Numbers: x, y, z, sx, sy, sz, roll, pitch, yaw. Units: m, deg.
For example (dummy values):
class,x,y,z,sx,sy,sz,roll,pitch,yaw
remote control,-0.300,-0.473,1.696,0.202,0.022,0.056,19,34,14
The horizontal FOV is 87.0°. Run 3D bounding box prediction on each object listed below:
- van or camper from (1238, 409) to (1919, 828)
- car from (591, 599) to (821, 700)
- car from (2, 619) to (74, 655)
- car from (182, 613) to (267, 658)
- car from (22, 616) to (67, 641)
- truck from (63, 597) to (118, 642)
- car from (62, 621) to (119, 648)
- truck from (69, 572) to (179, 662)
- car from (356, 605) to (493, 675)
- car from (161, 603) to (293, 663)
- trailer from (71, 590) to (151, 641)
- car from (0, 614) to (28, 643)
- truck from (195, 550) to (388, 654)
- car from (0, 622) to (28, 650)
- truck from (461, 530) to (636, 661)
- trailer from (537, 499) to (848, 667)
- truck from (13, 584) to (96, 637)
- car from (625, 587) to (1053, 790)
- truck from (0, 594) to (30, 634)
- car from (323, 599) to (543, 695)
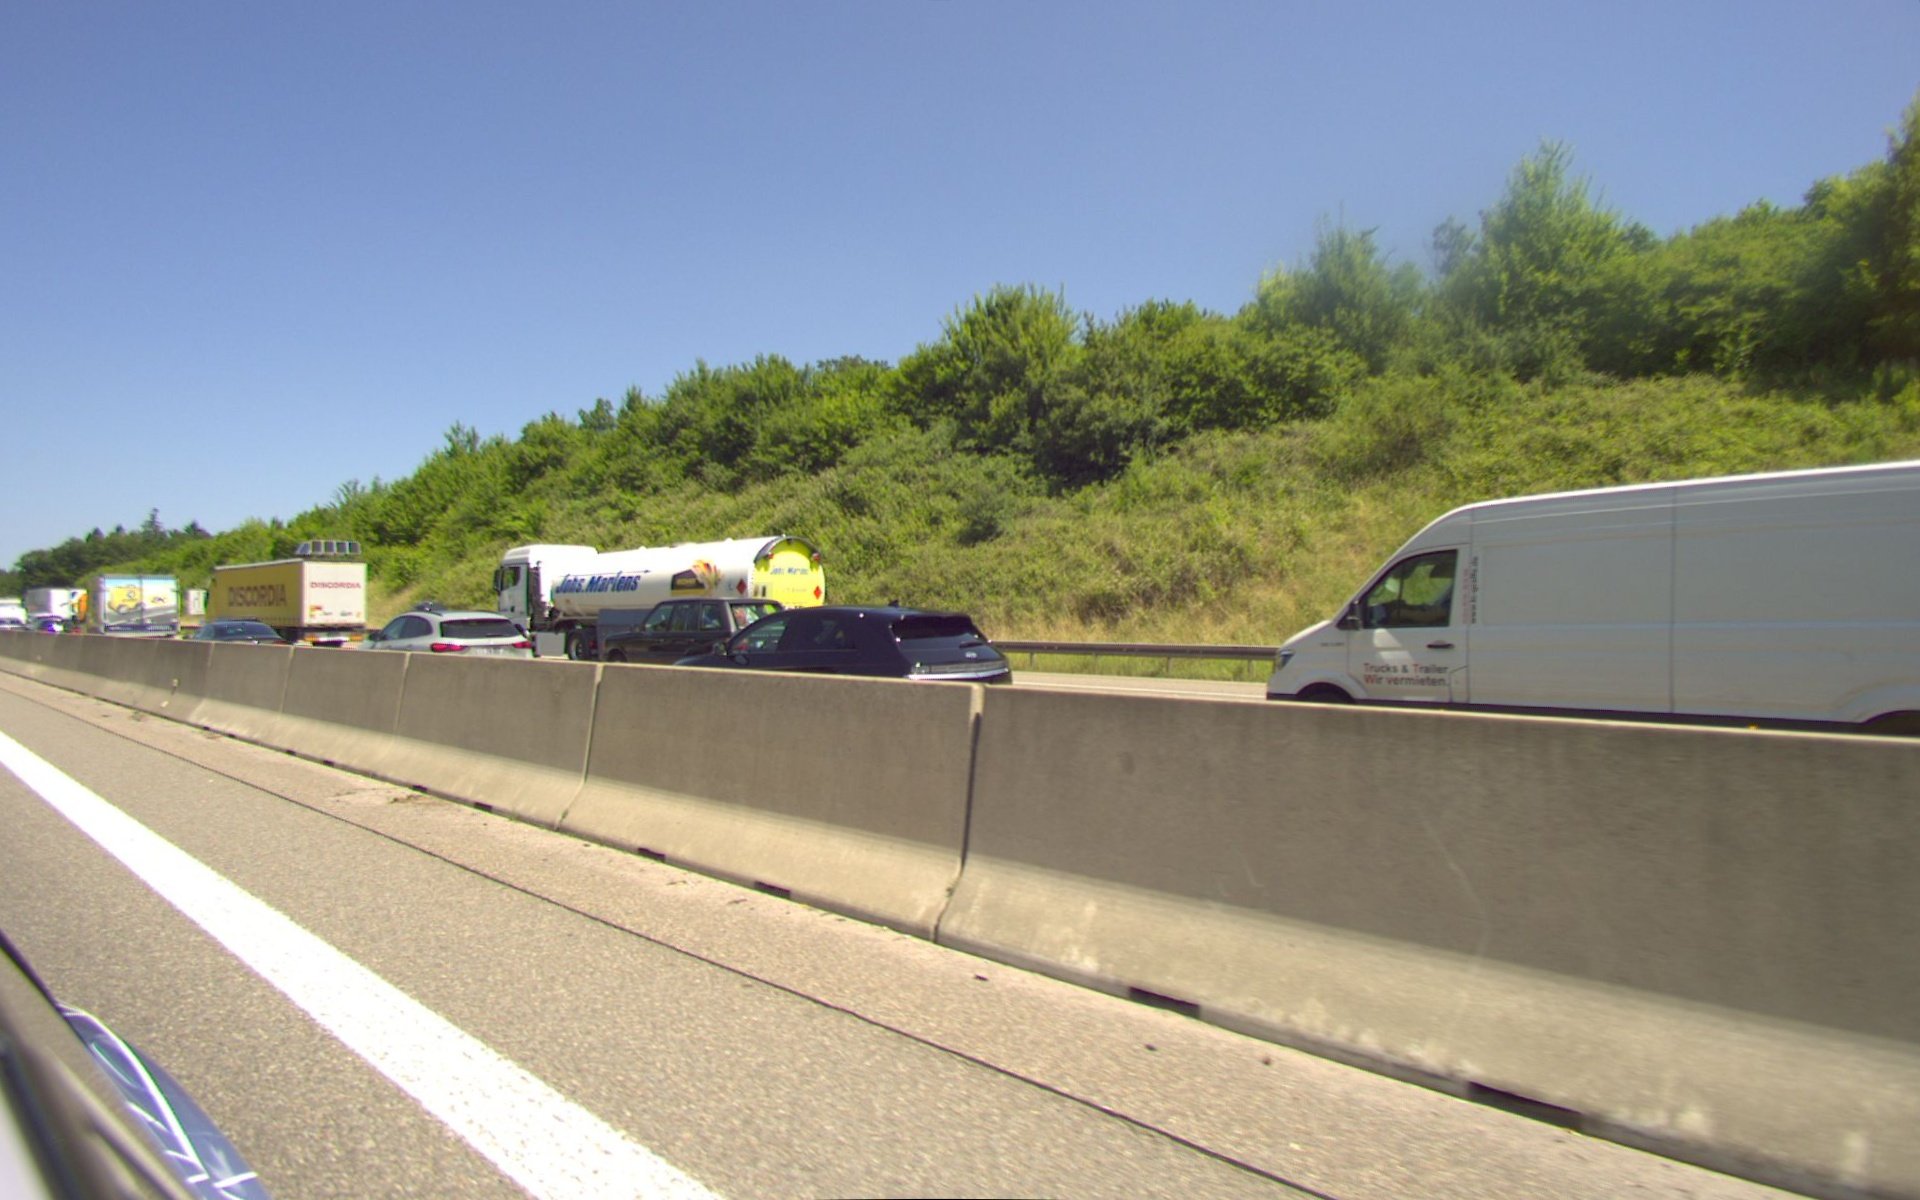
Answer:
class,x,y,z,sx,sy,sz,roll,pitch,yaw
van or camper,6.143,0.128,8.859,2.223,2.796,7.231,0,0,-39
car,-5.062,0.878,19.845,4.755,1.741,1.977,0,0,40
car,-42.846,1.678,47.003,4.754,1.508,1.810,0,0,39
car,-31.299,1.461,43.005,4.988,1.778,1.809,0,0,41
car,-68.309,2.121,75.516,4.754,1.776,1.810,0,0,39
truck,-68.784,1.562,80.041,5.181,3.391,2.469,-3,-2,39
car,-52.887,2.091,61.524,4.754,1.508,1.810,0,0,39
truck,-31.026,0.580,37.462,6.777,3.039,2.243,0,0,43
car,-15.201,1.054,28.590,4.989,1.778,1.808,0,0,42
car,-20.204,0.842,27.828,4.754,1.508,1.810,0,0,39
trailer,-63.815,1.245,75.901,11.684,3.319,2.552,-4,-2,40
car,-83.145,2.417,88.144,6.536,2.402,2.162,0,0,40
truck,-34.036,0.129,50.889,17.373,4.490,3.658,0,0,41
car,-56.343,2.091,59.405,4.754,1.508,1.810,0,0,39
truck,-13.091,-0.126,32.008,5.866,3.771,2.652,0,0,39
trailer,-7.593,-0.282,27.240,10.677,3.761,2.583,-2,-1,41
truck,-83.823,0.919,93.459,17.373,4.490,3.658,0,0,41
car,-1.532,0.787,11.177,4.988,1.778,1.809,0,0,41
truck,-114.213,1.580,120.093,19.442,4.490,3.658,0,0,41
car,-9.552,0.760,18.172,4.754,1.508,1.810,0,0,39
